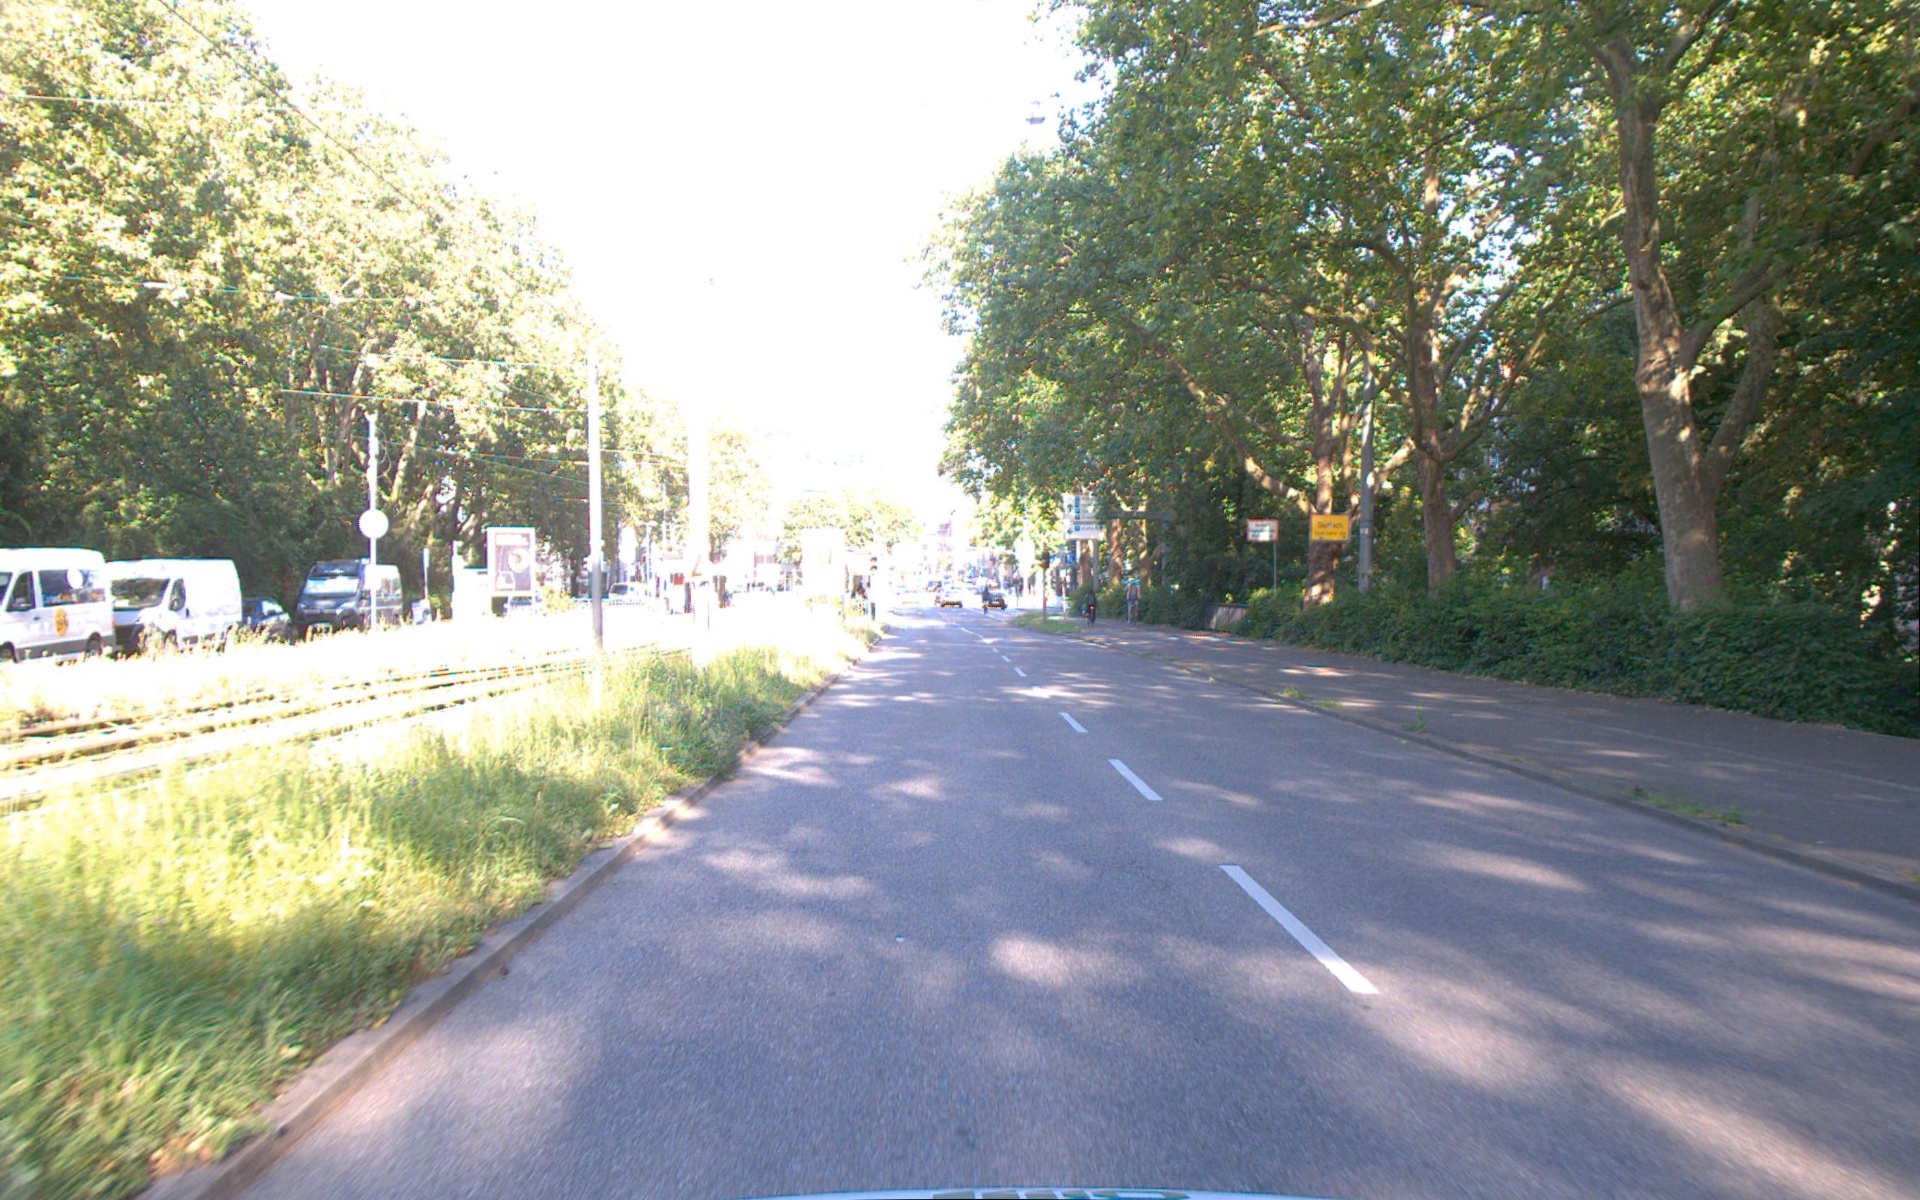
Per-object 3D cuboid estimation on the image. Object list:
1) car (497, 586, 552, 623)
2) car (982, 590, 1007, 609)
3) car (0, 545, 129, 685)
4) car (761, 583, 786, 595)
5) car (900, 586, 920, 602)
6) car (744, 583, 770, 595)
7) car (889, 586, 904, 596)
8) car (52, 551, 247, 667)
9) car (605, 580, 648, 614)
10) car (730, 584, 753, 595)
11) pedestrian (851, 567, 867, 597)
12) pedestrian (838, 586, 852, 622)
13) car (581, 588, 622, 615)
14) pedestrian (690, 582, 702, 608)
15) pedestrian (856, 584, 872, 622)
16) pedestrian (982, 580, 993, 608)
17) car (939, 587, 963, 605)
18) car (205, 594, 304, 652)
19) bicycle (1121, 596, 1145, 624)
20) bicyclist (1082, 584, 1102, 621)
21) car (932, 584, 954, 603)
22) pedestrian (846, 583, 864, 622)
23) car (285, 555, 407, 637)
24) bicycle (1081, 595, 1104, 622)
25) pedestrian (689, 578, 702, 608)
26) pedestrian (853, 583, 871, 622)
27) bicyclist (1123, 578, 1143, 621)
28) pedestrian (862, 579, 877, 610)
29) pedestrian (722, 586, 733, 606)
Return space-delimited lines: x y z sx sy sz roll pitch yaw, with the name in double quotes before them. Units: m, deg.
"car" -20.791 0.215 79.020 1.866 1.680 3.968 -2 0 -5
"car" 2.885 -0.060 137.899 1.764 1.464 4.043 2 1 -3
"car" -18.928 0.311 32.790 2.140 2.565 6.045 -2 0 -4
"car" -25.732 -1.533 228.827 1.881 1.677 4.182 0 1 18
"car" -4.612 -0.541 151.823 1.772 1.478 3.998 1 0 -3
"car" -28.165 -1.534 229.429 1.759 1.677 4.006 0 1 26
"car" -9.307 -1.298 244.404 1.756 1.537 4.002 0 0 4
"car" -19.690 0.214 40.584 2.141 2.565 6.264 -2 0 -5
"car" -21.762 -0.187 108.065 2.026 2.161 5.086 -2 0 -4
"car" -30.563 -1.509 231.342 1.756 1.536 4.013 0 1 16
"pedestrian" -5.870 -1.058 96.238 0.647 1.752 0.701 1 0 -38
"pedestrian" -4.864 0.168 69.752 0.509 1.498 0.514 -2 0 -1
"car" -21.483 0.108 99.346 1.759 1.536 4.338 -2 0 -4
"pedestrian" -15.654 -0.290 97.961 0.581 1.571 0.626 1 -1 -2
"pedestrian" -4.006 0.130 69.128 0.578 1.546 0.514 -2 0 -2
"pedestrian" 1.843 -0.414 110.786 0.643 1.903 0.677 0 0 -3
"car" -0.813 -0.356 142.706 1.890 1.498 4.852 0 1 -2
"car" -20.202 0.642 47.482 1.620 1.539 3.262 -2 0 -5
"bicycle" 7.154 0.392 68.405 0.685 1.127 1.928 0 0 -4
"bicyclist" 5.580 0.102 69.944 0.751 1.539 0.650 0 0 -3
"car" -1.548 -0.589 150.127 1.764 1.666 4.043 0 1 -3
"pedestrian" -4.322 0.091 68.052 0.510 1.595 0.507 -2 0 28
"car" -20.508 -0.122 55.587 2.140 2.565 6.028 -2 0 -4
"bicycle" 5.577 0.340 69.942 0.751 1.127 1.799 0 1 -3
"pedestrian" -15.772 -0.405 98.692 0.635 1.803 0.650 1 -1 0
"pedestrian" -4.063 0.098 68.470 0.510 1.595 0.507 -2 0 28
"bicyclist" 7.156 -0.015 68.406 0.685 1.758 1.079 0 0 -4
"pedestrian" -5.038 -0.298 92.017 0.727 1.724 0.791 1 0 -2
"pedestrian" -16.122 -0.305 114.515 0.656 1.347 0.756 -3 0 -4
